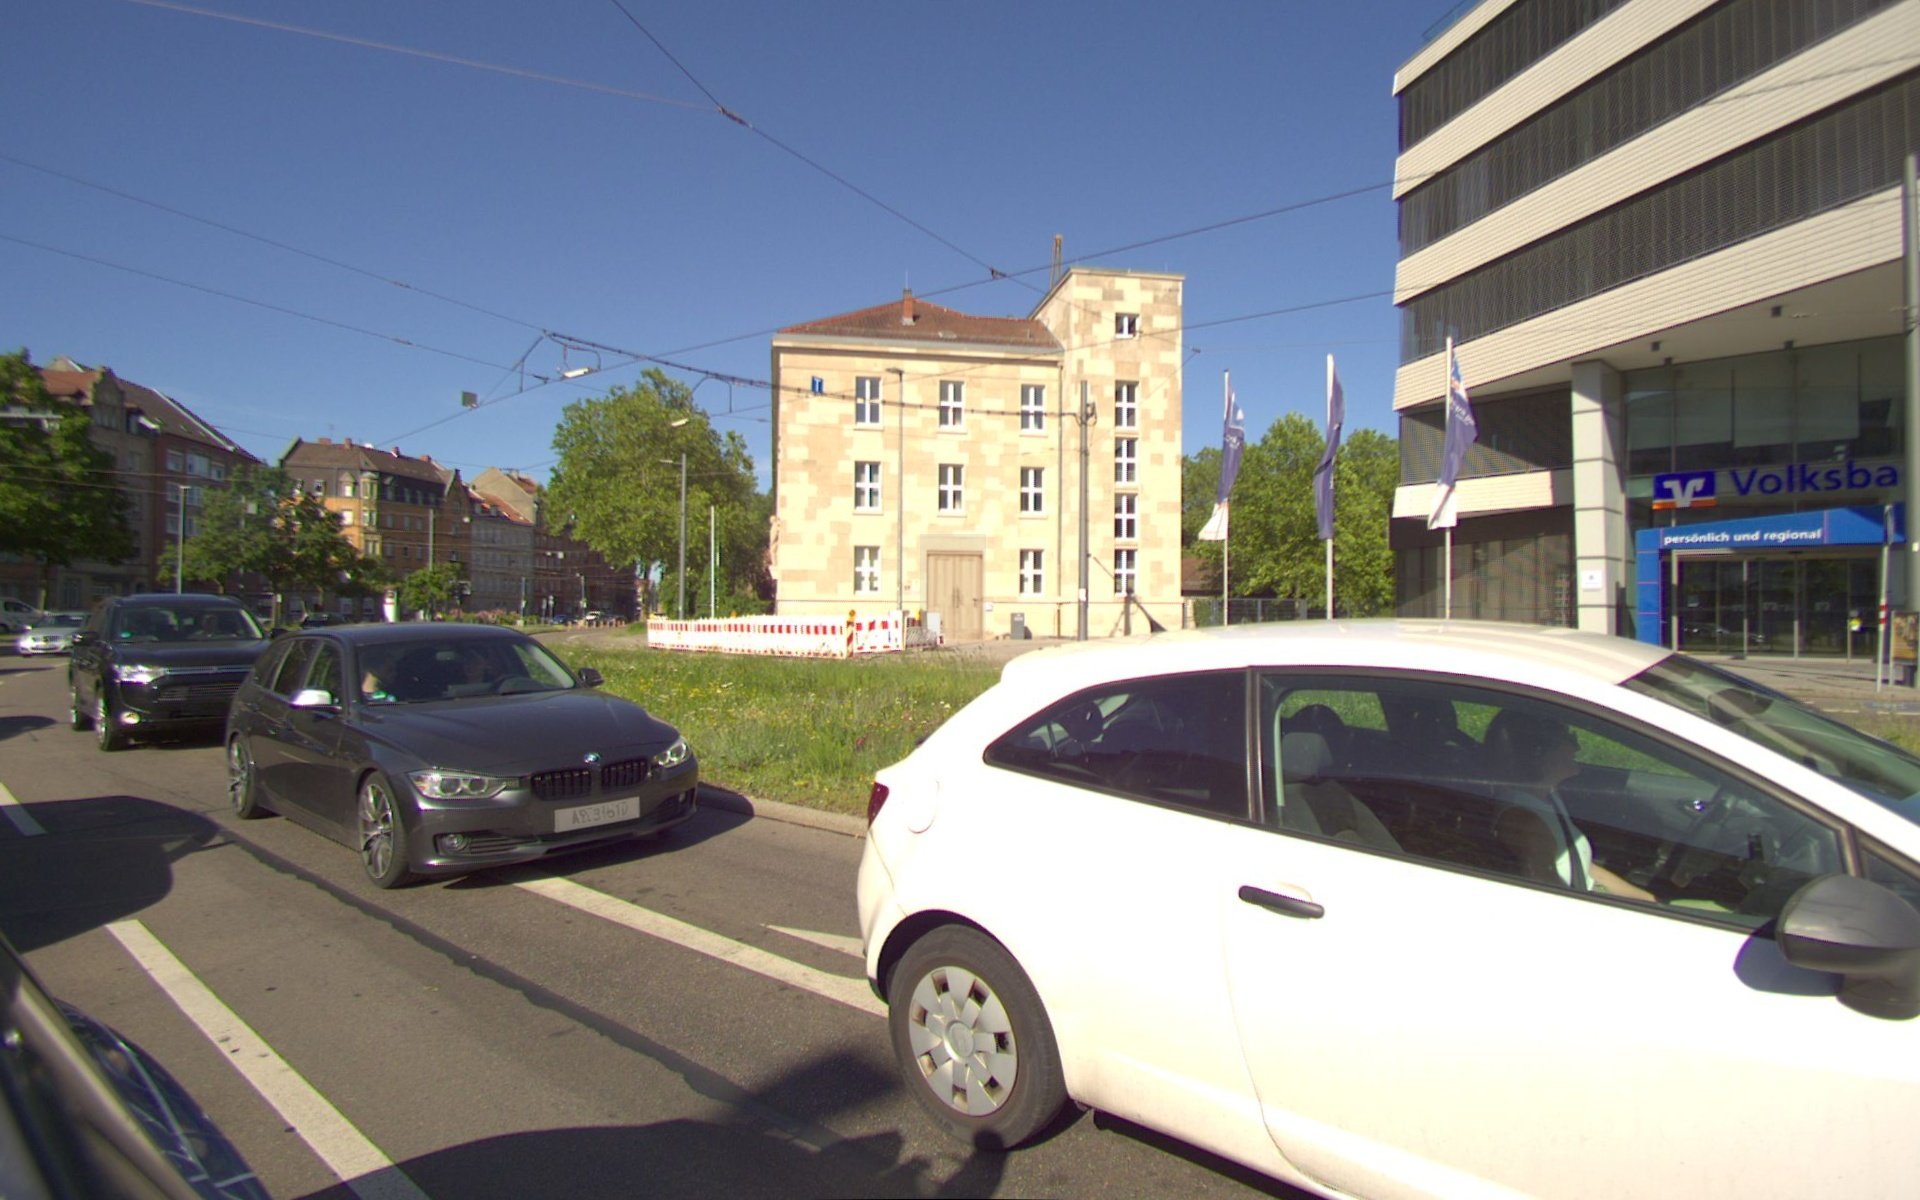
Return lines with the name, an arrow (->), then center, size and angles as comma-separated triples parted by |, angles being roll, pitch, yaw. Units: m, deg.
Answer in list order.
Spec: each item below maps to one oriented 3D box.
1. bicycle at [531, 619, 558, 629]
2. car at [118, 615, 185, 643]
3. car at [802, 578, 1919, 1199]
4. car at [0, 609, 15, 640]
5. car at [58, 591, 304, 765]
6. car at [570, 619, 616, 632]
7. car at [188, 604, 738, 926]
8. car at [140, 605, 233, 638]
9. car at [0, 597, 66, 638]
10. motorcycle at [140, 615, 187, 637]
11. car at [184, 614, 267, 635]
bicycle -> -62.025, 3.579, 151.120 | 1.940, 1.427, 6.837 | 2, -2, -7
car -> -63.900, 2.235, 80.107 | 1.971, 1.483, 4.499 | -12, 4, -8
car -> 1.494, 0.696, 2.379 | 3.780, 1.434, 1.615 | -1, 1, 41
car -> -49.308, 1.159, 49.849 | 3.970, 1.490, 1.814 | 4, -2, -44
car -> -9.528, 0.796, 12.219 | 1.815, 1.695, 4.646 | 0, -1, -45
car -> -43.209, 2.987, 119.318 | 4.879, 1.464, 1.840 | 1, -2, -11
car -> -3.574, 0.797, 6.829 | 4.465, 1.434, 1.716 | -1, 1, 41
car -> -53.749, 1.533, 70.366 | 2.022, 2.091, 4.809 | -1, -3, 45
car -> -50.242, 0.882, 52.887 | 5.105, 2.028, 2.104 | 3, -2, -40
motorcycle -> -52.988, 1.756, 67.338 | 0.851, 1.431, 2.238 | 0, -3, 30
car -> -55.667, 1.865, 76.724 | 4.807, 1.446, 2.022 | 4, -3, -44
